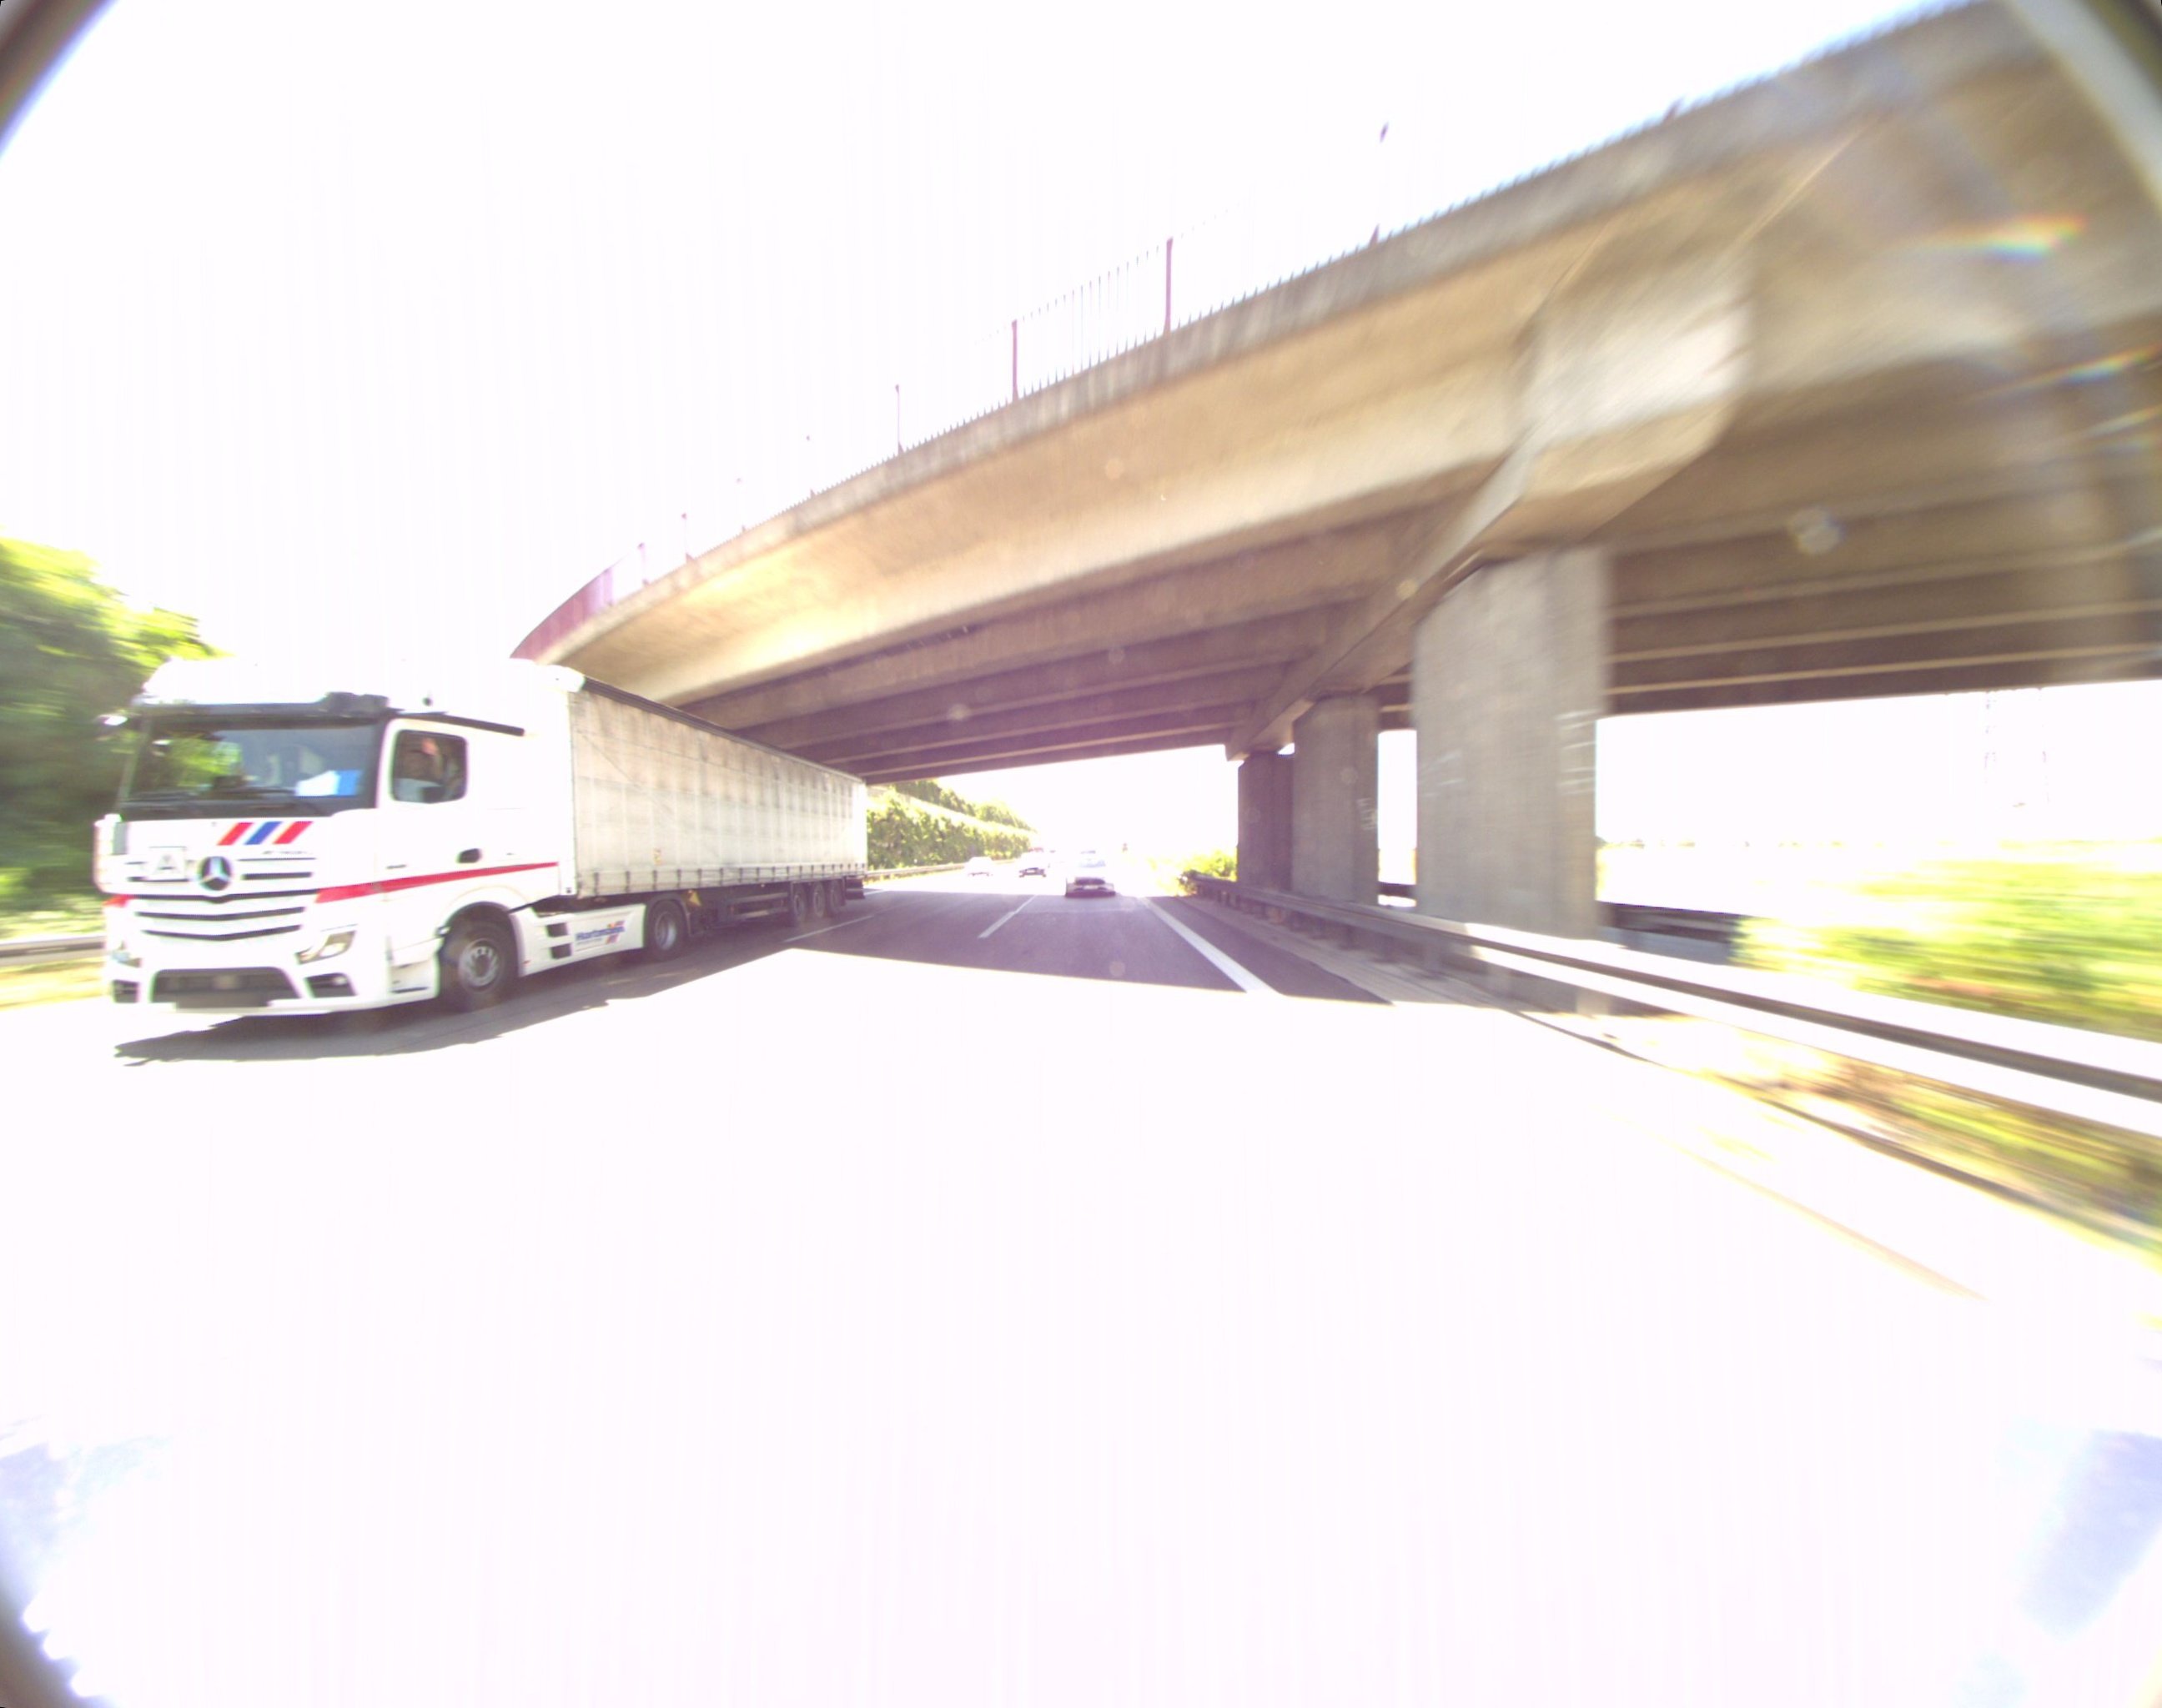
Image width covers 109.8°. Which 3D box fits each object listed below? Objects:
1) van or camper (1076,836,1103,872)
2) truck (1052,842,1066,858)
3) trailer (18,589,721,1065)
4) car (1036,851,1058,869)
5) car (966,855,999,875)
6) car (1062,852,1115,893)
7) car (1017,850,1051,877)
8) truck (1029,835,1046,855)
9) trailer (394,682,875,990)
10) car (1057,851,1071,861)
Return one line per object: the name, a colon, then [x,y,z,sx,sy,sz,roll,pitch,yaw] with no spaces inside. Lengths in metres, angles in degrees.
van or camper: [0.759,0.001,61.535,1.998,2.740,5.410,-2,0,2]
truck: [-5.780,-1.046,197.856,3.507,3.891,9.646,0,1,-1]
trailer: [-7.761,-0.247,9.982,2.720,4.079,6.788,-1,1,0]
car: [-3.360,0.578,75.975,1.984,1.671,4.558,0,0,0]
car: [-7.333,0.786,56.815,1.840,1.403,4.558,-2,0,0]
car: [0.291,0.724,31.722,1.984,1.525,4.558,-2,0,0]
car: [-3.121,0.598,51.387,1.984,1.671,4.558,-1,0,0]
truck: [-7.519,-1.551,131.640,2.581,3.204,5.712,-2,1,0]
trailer: [-7.752,-0.278,16.756,2.735,4.079,13.187,-1,0,0]
car: [-2.674,0.242,119.798,1.984,1.525,4.137,-1,0,0]
